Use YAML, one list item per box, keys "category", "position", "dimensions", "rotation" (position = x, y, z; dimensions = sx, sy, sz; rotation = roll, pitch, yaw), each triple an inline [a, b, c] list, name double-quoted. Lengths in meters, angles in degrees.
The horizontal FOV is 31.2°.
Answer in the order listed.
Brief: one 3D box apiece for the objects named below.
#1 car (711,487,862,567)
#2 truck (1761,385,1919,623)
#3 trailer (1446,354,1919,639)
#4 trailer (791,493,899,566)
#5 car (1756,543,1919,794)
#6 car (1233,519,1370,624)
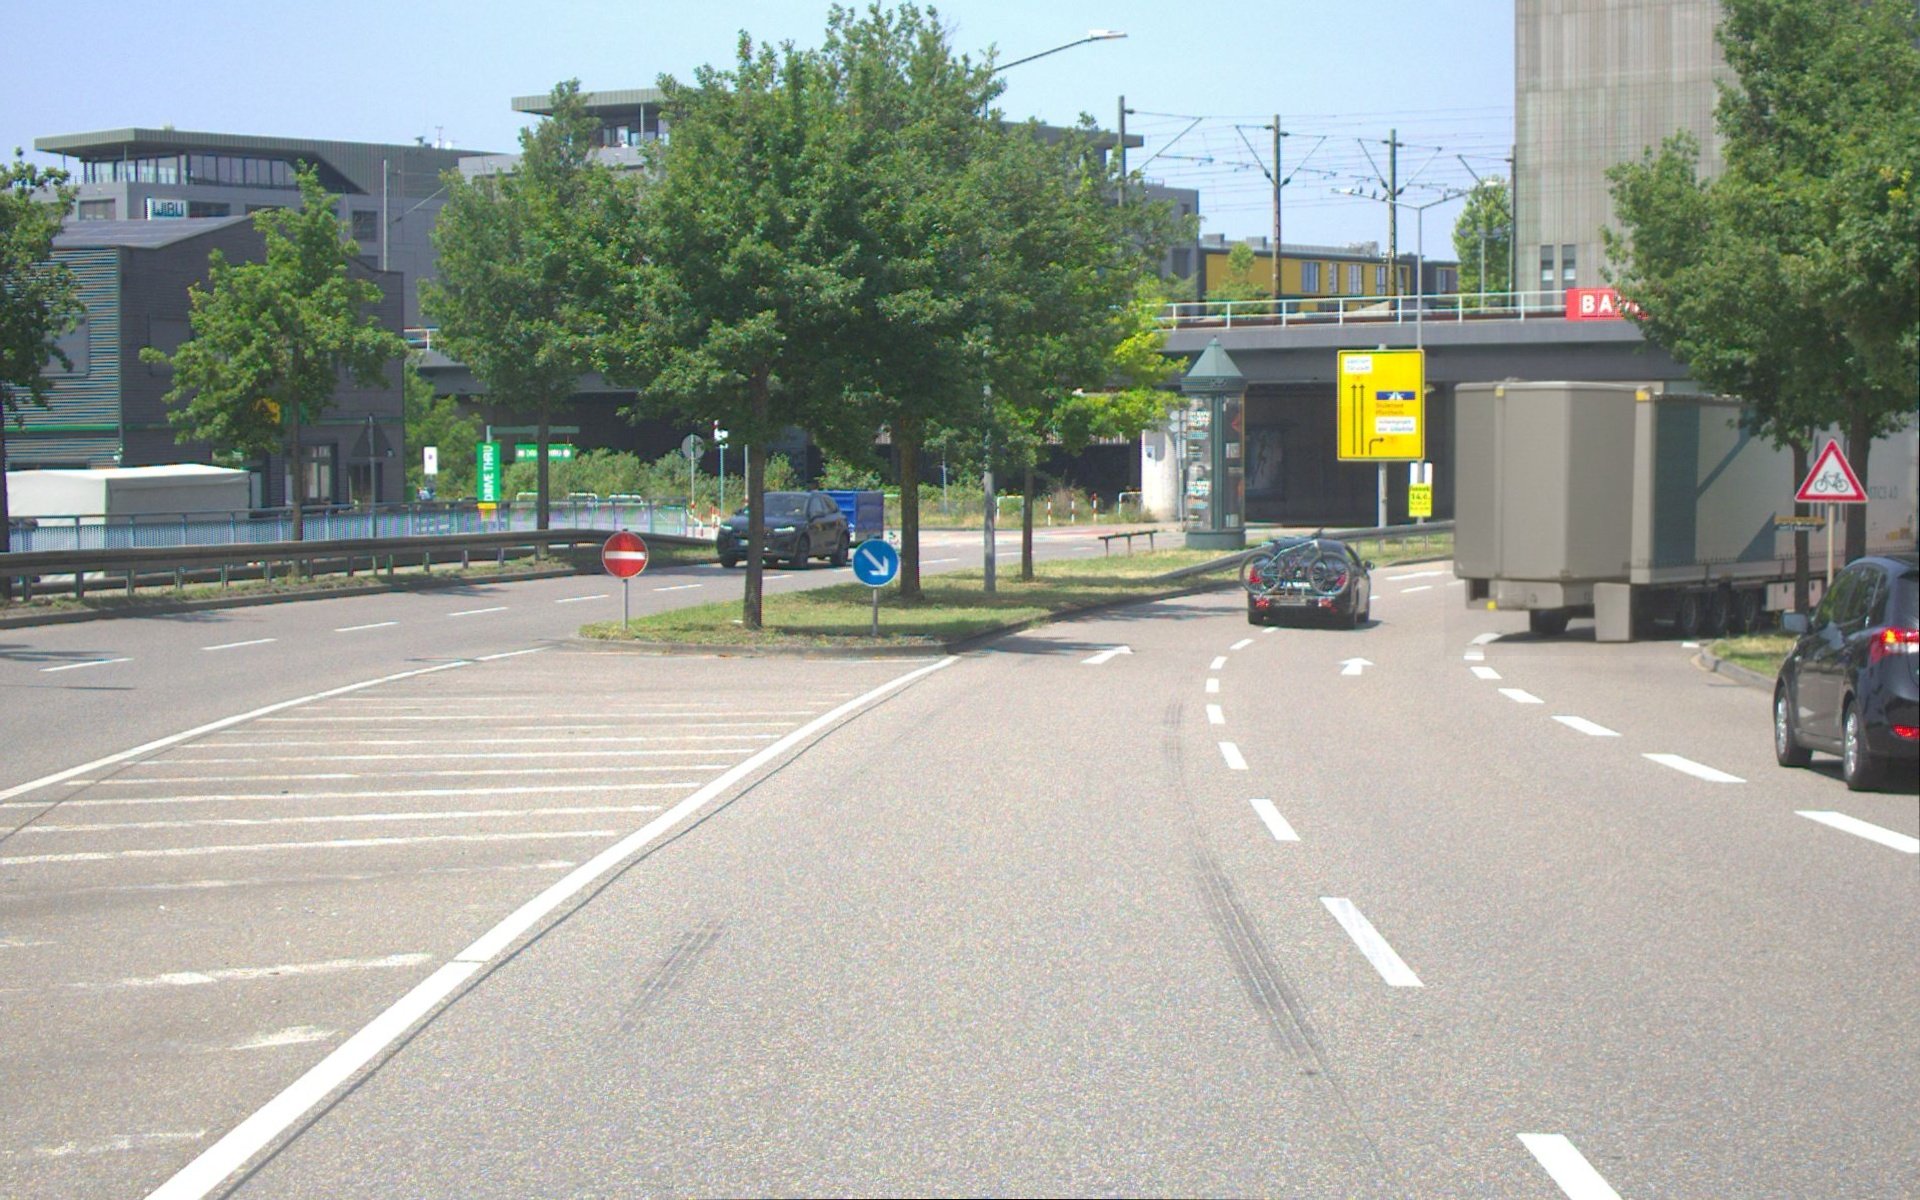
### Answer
- category: "car"
  position: [-3.795, -1.596, 76.034]
  dimensions: [1.916, 1.646, 4.404]
  rotation: [-2, 0, 17]
- category: "truck"
  position: [19.066, -1.812, 66.747]
  dimensions: [6.057, 4.353, 3.087]
  rotation: [1, 3, -27]
- category: "trailer"
  position: [13.316, -1.768, 60.554]
  dimensions: [3.084, 4.353, 14.746]
  rotation: [5, 3, 34]
- category: "trailer"
  position: [-2.653, -1.628, 79.737]
  dimensions: [1.506, 1.610, 3.306]
  rotation: [-2, 0, 16]
- category: "car"
  position: [6.730, 0.449, 23.804]
  dimensions: [1.767, 1.594, 4.077]
  rotation: [1, 0, 4]
- category: "car"
  position: [5.640, -0.496, 56.339]
  dimensions: [1.957, 1.628, 4.278]
  rotation: [-1, 1, 9]
